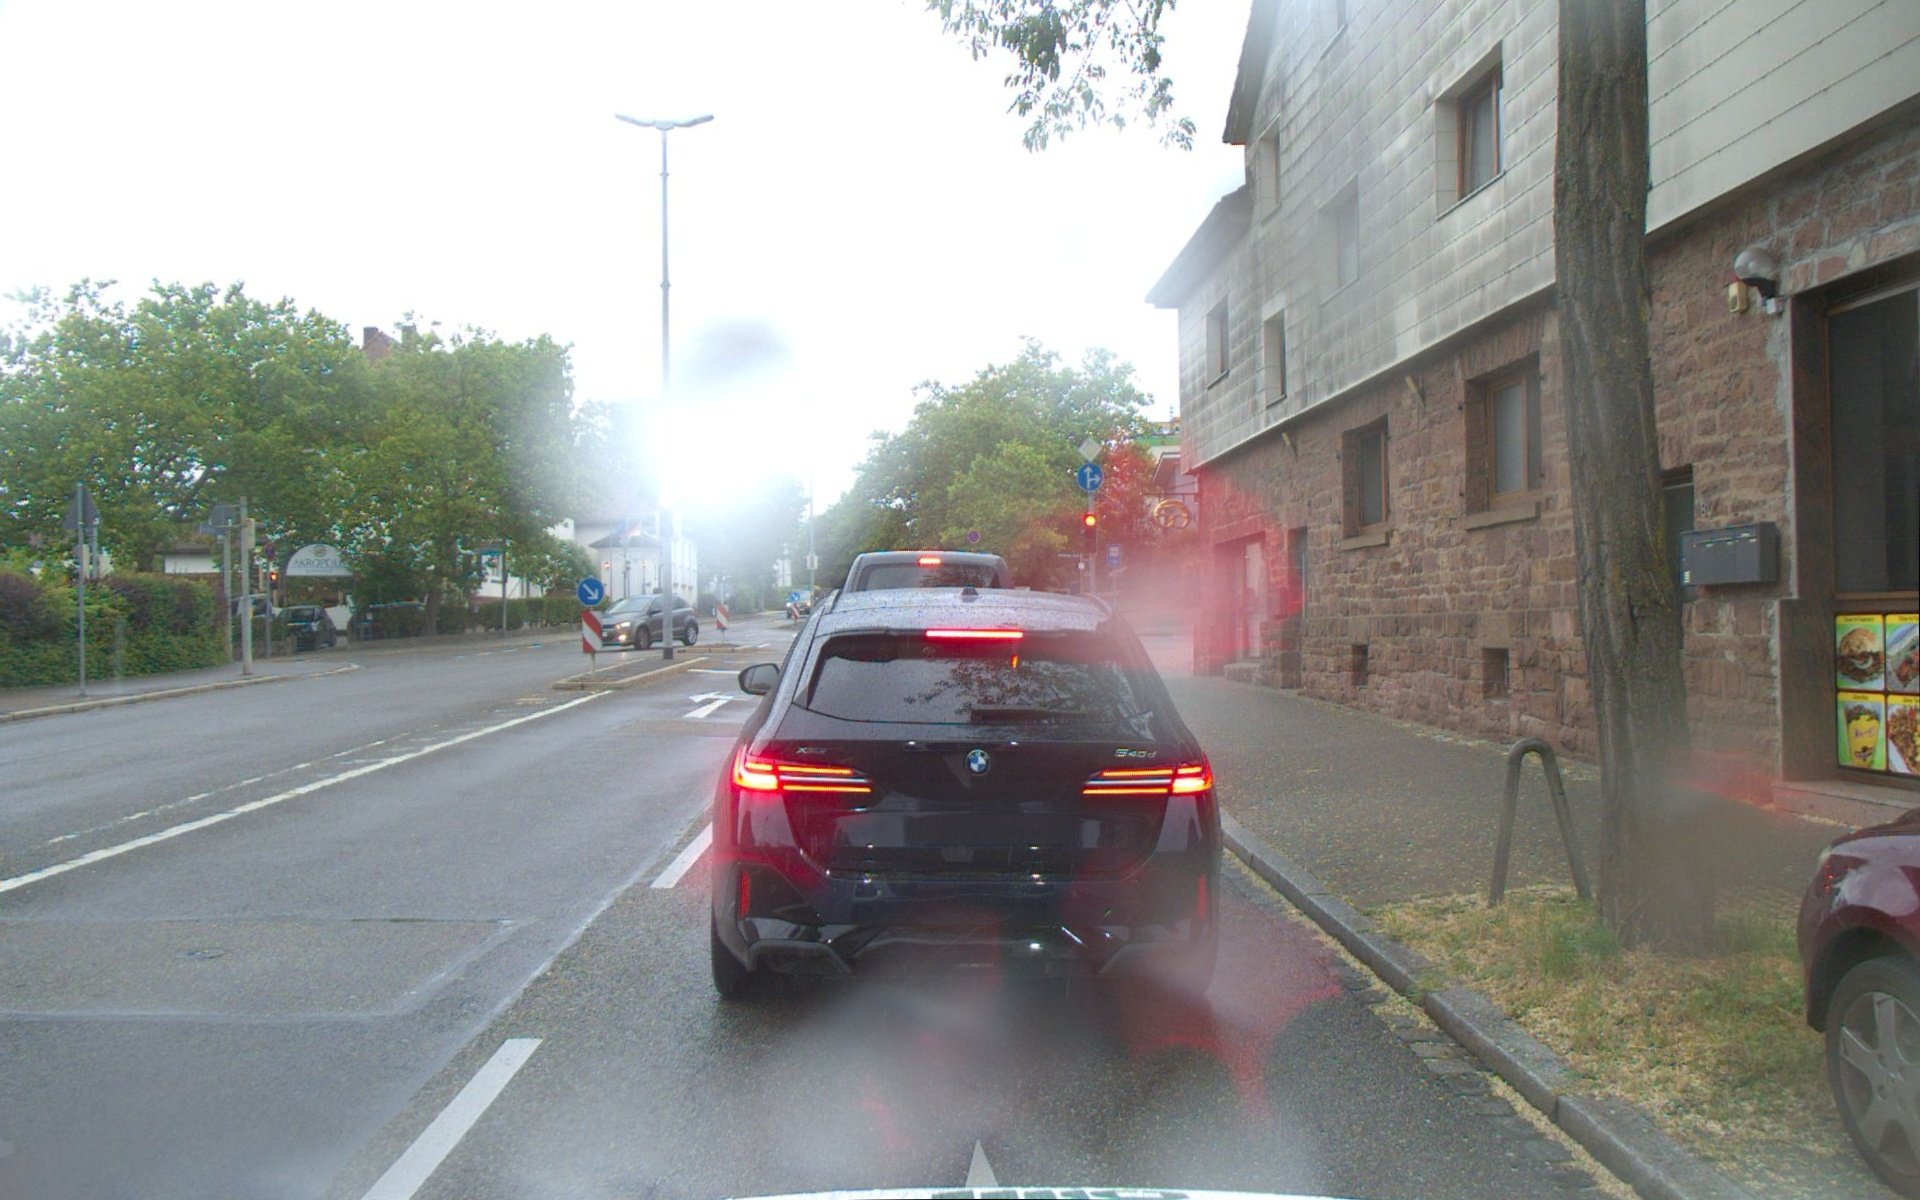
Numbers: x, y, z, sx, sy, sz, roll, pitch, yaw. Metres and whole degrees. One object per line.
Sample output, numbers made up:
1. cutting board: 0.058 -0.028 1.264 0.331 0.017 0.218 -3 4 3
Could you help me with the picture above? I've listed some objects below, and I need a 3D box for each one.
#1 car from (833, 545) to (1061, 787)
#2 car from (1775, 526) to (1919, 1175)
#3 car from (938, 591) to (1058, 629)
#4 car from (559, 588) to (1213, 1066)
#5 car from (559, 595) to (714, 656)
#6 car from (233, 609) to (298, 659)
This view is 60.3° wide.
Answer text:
1. car: -0.197 0.483 14.686 1.748 1.849 3.998 0 0 -3
2. car: 3.047 0.566 2.603 1.552 1.516 3.626 -3 1 -3
3. car: 1.354 0.335 59.092 3.934 1.311 1.835 0 0 -24
4. car: -0.343 0.705 7.401 2.023 1.472 4.480 1 0 -3
5. car: -8.632 0.649 44.411 1.957 1.536 3.946 0 1 31
6. car: -23.771 1.127 56.702 1.966 1.579 3.973 0 0 -22
